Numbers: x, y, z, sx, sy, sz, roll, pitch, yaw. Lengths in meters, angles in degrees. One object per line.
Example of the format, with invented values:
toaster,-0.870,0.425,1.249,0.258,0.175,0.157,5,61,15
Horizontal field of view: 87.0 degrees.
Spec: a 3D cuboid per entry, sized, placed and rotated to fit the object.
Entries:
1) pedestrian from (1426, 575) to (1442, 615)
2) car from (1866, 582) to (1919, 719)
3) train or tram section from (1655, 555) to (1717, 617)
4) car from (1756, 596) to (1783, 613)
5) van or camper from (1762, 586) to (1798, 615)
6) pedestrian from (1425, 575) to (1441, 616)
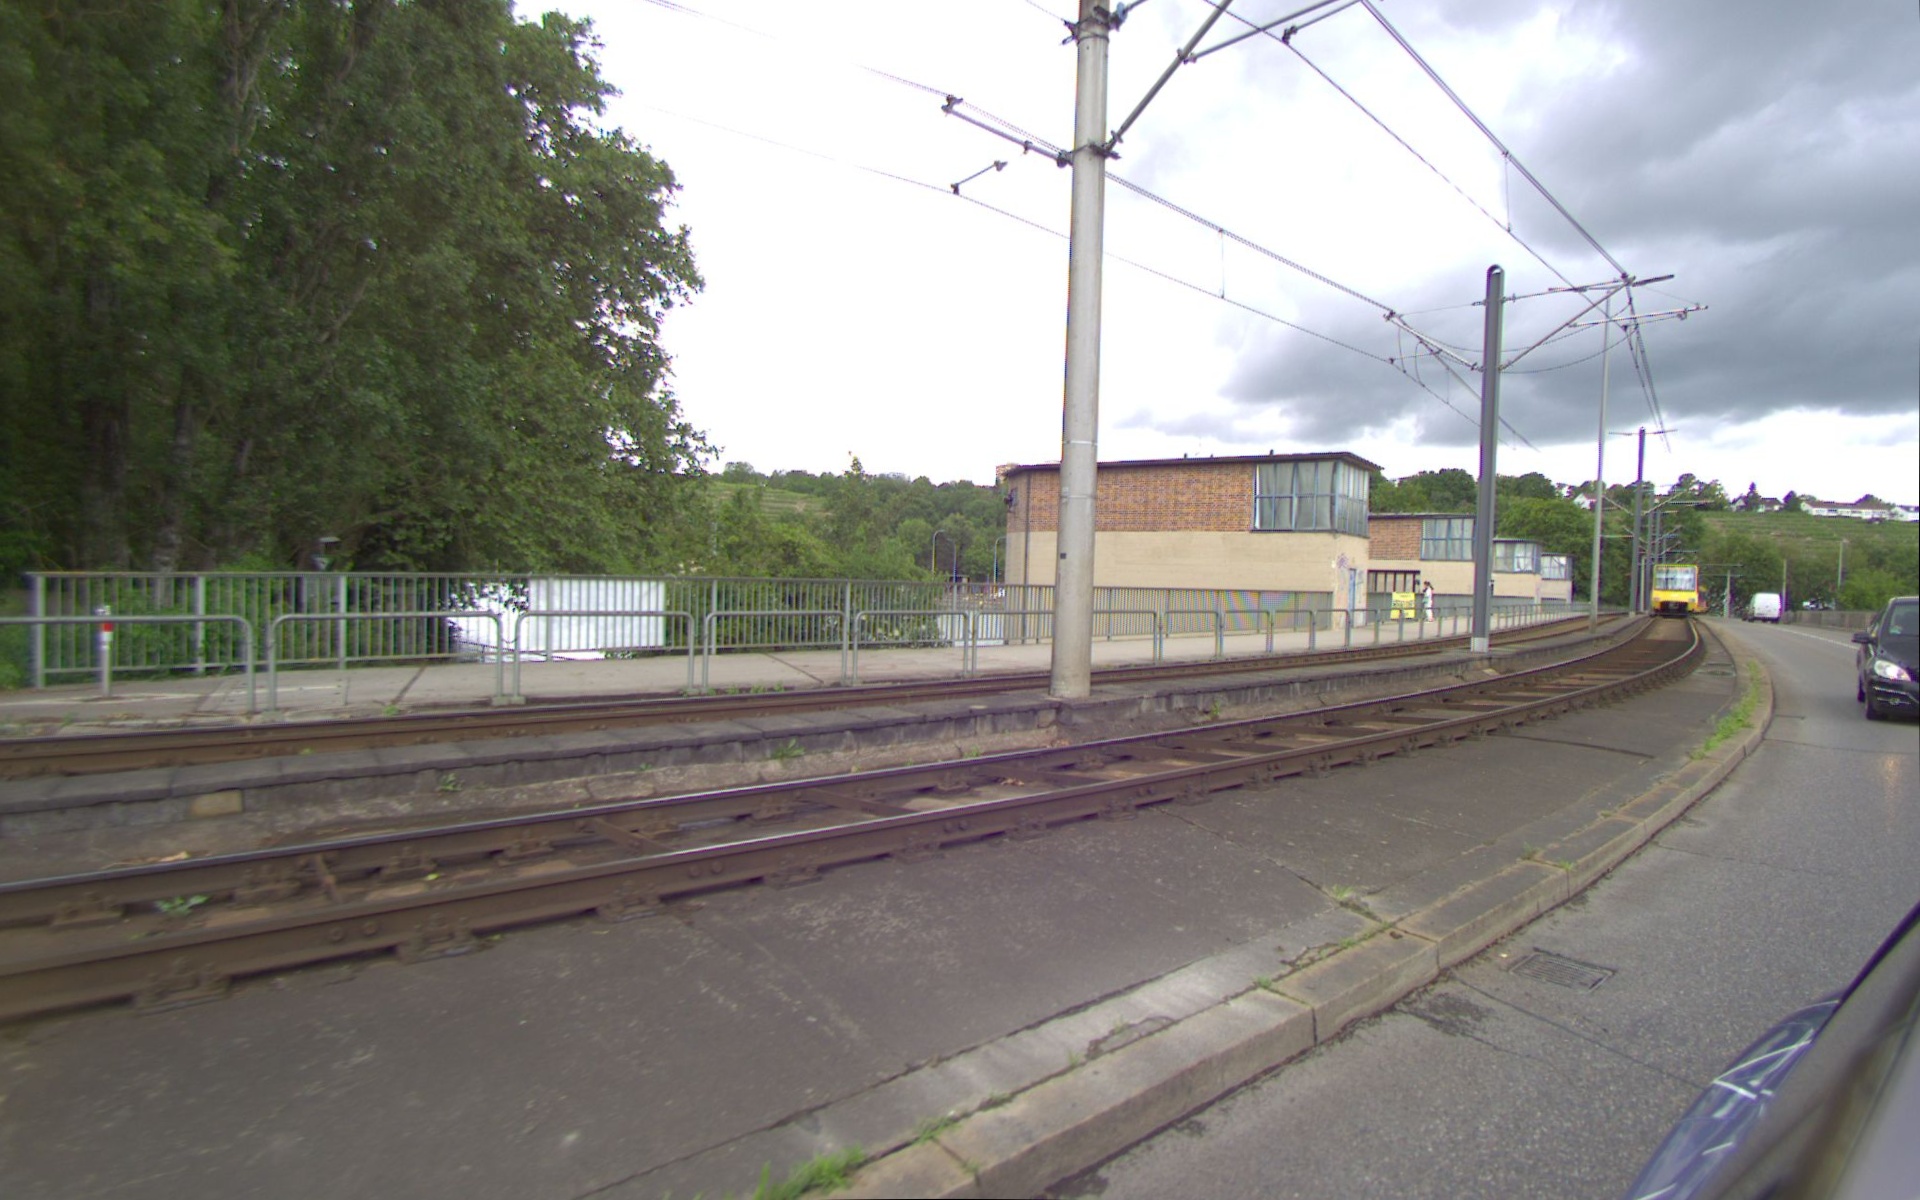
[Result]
pedestrian,19.980,-0.212,42.650,0.508,1.686,0.348,2,1,32
car,13.158,0.608,13.288,1.854,1.642,3.939,-1,-1,42
train or tram section,50.487,-0.982,70.256,3.018,3.967,9.311,2,2,38
car,79.861,0.427,99.848,1.989,1.593,3.947,1,2,37
van or camper,72.816,0.027,89.957,2.144,2.506,4.650,1,0,35
pedestrian,19.781,-0.207,42.324,0.508,1.686,0.348,2,1,32
